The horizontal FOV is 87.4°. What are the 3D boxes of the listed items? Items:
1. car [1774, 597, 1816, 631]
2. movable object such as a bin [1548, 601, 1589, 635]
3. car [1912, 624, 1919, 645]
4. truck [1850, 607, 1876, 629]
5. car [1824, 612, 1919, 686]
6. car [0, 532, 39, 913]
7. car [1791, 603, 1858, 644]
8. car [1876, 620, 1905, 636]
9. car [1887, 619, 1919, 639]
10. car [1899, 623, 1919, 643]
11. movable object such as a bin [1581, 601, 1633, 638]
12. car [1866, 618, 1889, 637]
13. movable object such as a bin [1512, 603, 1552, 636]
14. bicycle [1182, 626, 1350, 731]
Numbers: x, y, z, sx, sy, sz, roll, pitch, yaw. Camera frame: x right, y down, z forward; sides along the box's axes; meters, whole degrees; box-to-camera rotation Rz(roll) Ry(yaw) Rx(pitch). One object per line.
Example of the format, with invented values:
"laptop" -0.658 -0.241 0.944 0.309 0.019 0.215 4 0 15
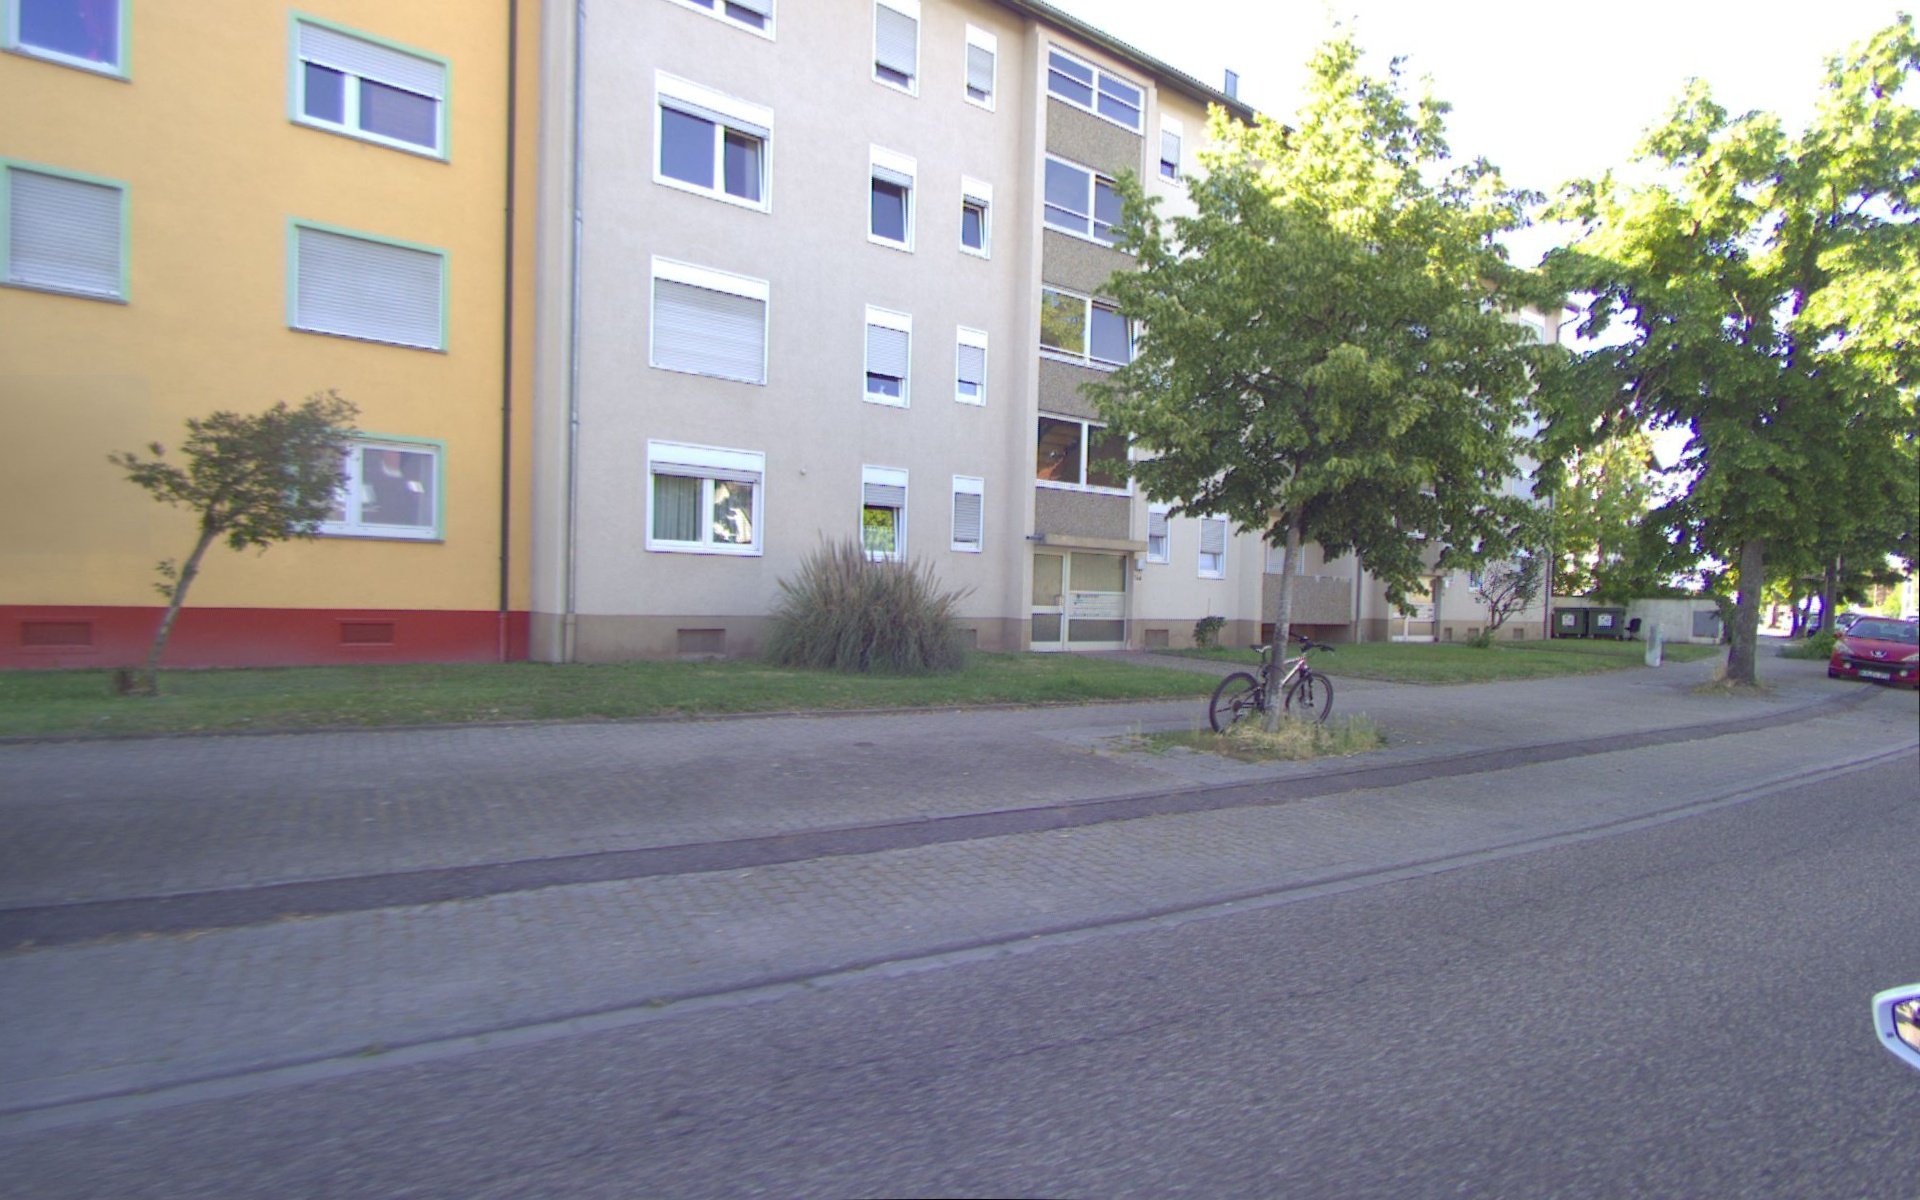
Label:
"car" 60.653 0.997 72.959 1.884 2.199 4.267 11 7 42
"movable object such as a bin" 25.455 0.768 42.007 1.080 1.339 1.161 4 -1 -41
"car" 82.614 2.997 85.411 1.981 1.747 4.277 2 0 38
"truck" 118.514 2.335 131.853 2.178 2.633 5.123 2 -1 39
"car" 21.775 1.109 23.649 4.260 1.511 1.672 2 2 -43
"car" -5.499 0.519 2.883 3.864 1.551 1.563 1 5 -25
"car" 42.334 1.136 49.171 4.260 1.652 1.818 2 7 -43
"car" 105.240 3.153 113.651 1.981 1.747 4.277 2 0 38
"car" 90.580 2.787 96.431 1.981 1.747 4.277 2 0 38
"car" 87.474 3.013 91.761 1.981 1.747 4.277 2 0 38
"movable object such as a bin" 26.368 0.789 40.952 1.080 1.446 1.504 4 -1 -41
"car" 108.040 3.217 118.256 1.728 2.040 3.934 2 -1 39
"movable object such as a bin" 24.500 0.831 43.053 1.080 1.339 1.161 4 -1 -41
"bicycle" 3.090 0.769 10.082 1.860 0.982 0.366 1 0 -27
